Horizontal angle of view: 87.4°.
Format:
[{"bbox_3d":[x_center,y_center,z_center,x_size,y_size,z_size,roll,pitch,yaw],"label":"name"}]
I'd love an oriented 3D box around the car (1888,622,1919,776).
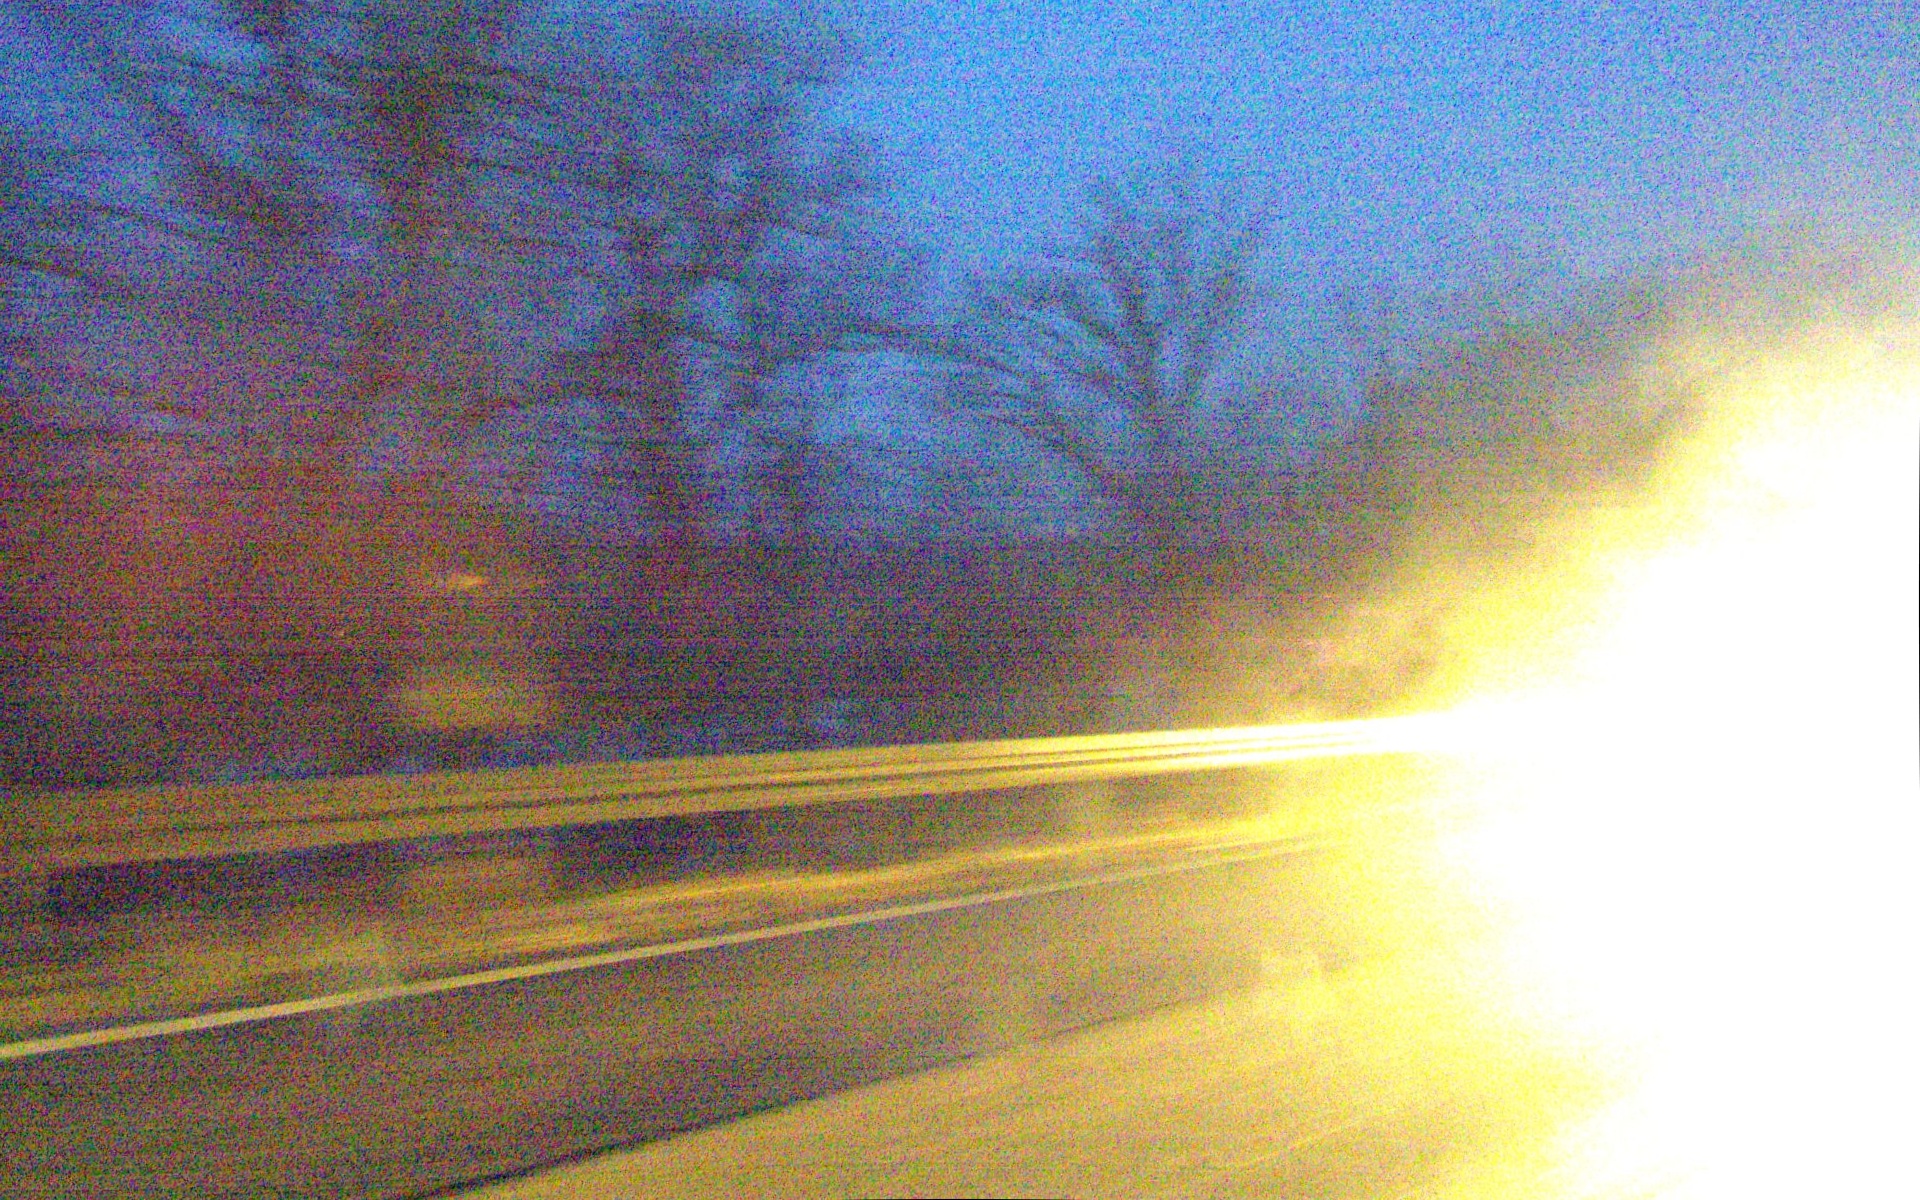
[{"bbox_3d":[11.970,1.036,11.114,3.703,1.602,1.625,-1,0,-33],"label":"car"}]
